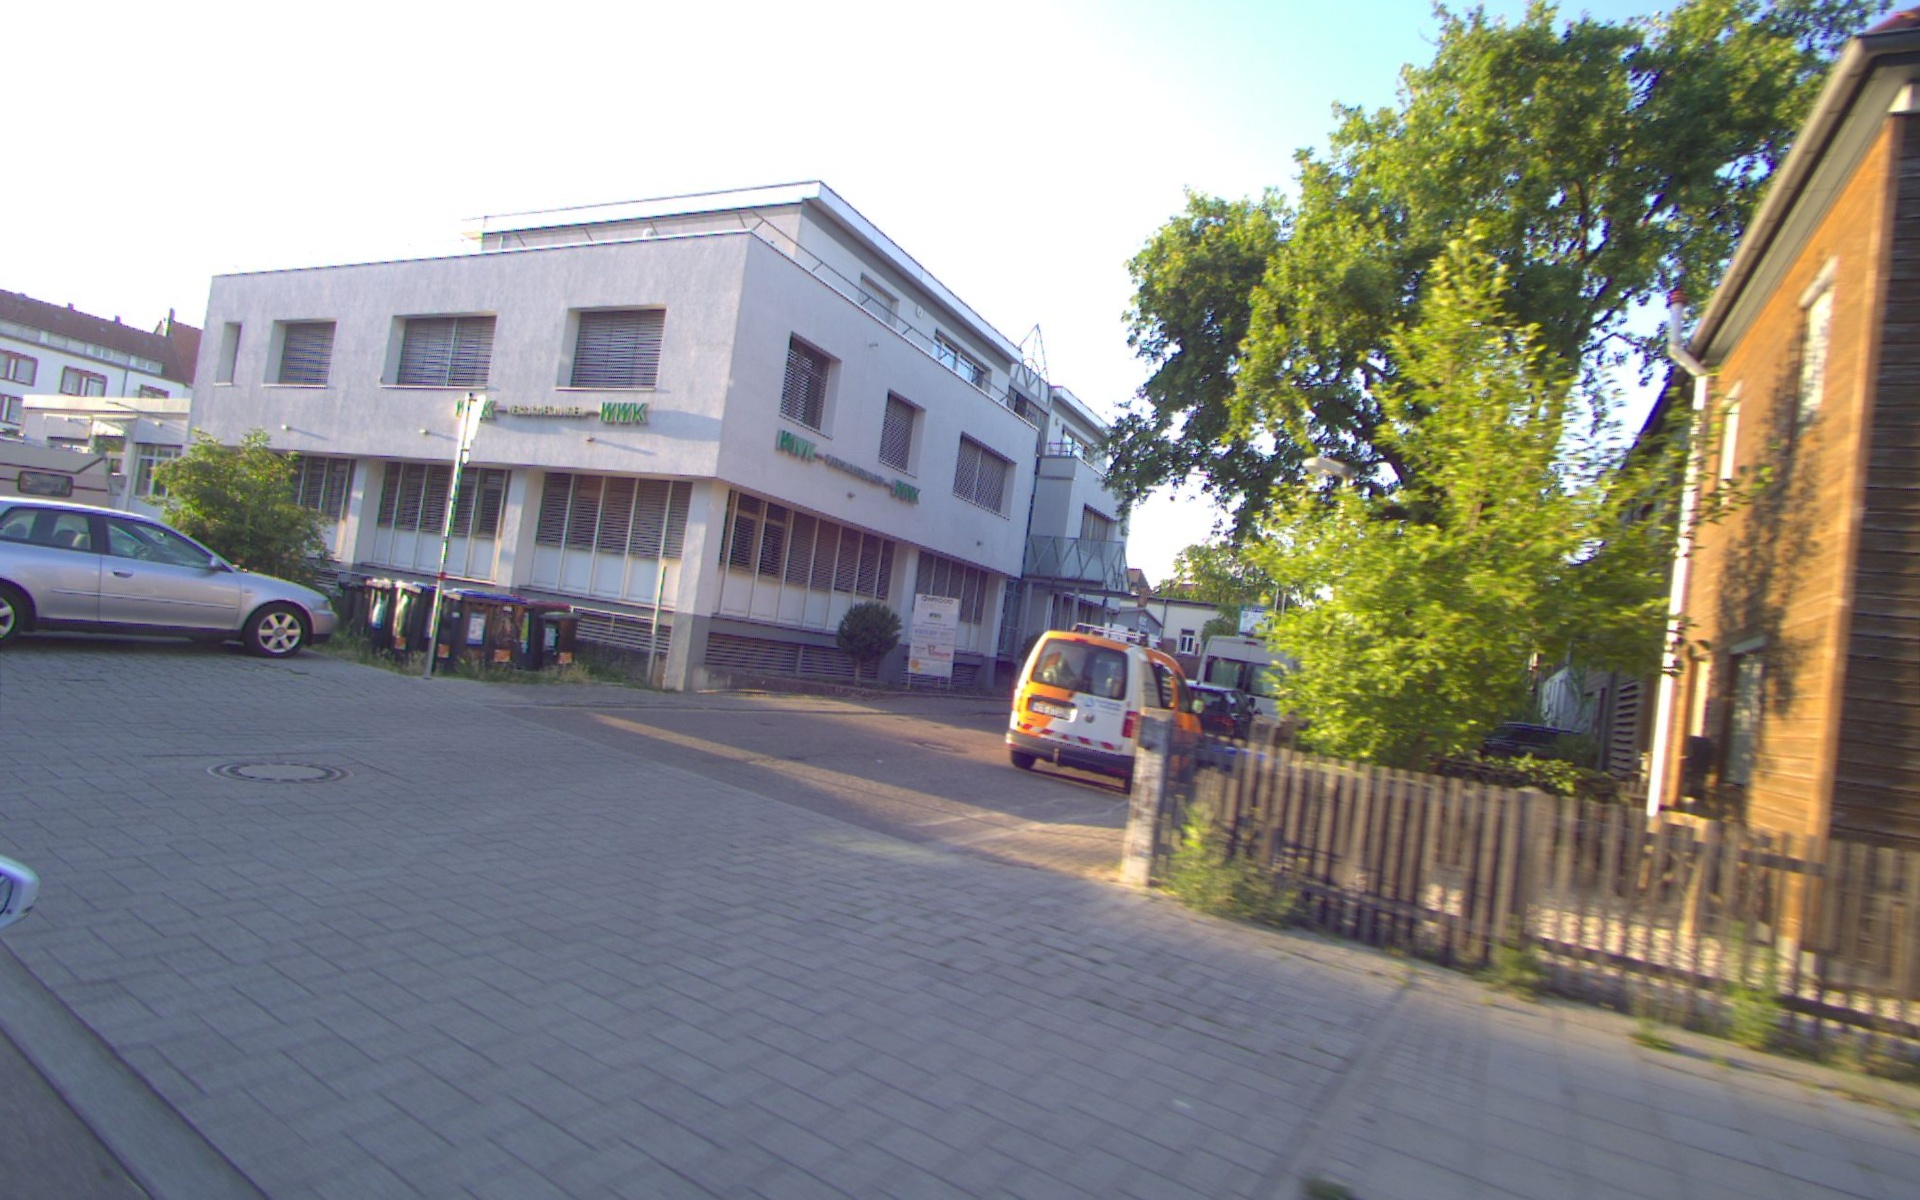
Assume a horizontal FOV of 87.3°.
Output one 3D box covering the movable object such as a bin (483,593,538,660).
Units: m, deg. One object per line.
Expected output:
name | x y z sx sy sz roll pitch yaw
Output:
movable object such as a bin | -6.882 0.409 15.408 0.517 0.942 0.468 7 -1 30

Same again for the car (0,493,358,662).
car | -8.978 -0.248 10.581 1.864 1.424 4.064 7 -1 29

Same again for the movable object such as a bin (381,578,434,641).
movable object such as a bin | -8.995 0.162 16.380 0.517 0.942 0.468 7 -1 30

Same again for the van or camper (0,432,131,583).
van or camper | -21.342 -2.208 20.794 2.445 2.897 5.793 6 -2 30

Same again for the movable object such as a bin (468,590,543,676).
movable object such as a bin | -5.963 0.439 13.225 0.438 1.033 0.645 7 -2 23

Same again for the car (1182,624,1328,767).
car | 6.766 2.166 22.649 2.060 2.588 4.755 9 -2 26

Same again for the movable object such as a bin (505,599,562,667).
movable object such as a bin | -6.385 0.493 15.056 0.517 0.942 0.468 7 -1 30

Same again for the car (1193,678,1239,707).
car | 16.095 5.814 63.138 1.923 1.471 3.610 7 -3 26

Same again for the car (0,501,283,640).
car | -10.916 -0.418 11.935 1.864 1.349 4.325 6 -2 29

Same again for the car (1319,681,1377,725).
car | 17.168 4.566 44.424 1.923 1.573 3.610 9 -2 26

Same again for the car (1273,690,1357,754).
car | 11.282 3.837 31.814 1.923 1.573 3.610 9 -2 26

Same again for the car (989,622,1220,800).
car | 2.105 1.477 13.586 1.751 1.786 3.954 9 -2 26

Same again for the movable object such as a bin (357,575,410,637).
movable object such as a bin | -9.550 0.099 16.669 0.517 0.942 0.468 7 -1 30

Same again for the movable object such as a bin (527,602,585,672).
movable object such as a bin | -5.939 0.551 14.793 0.517 0.942 0.468 7 -1 30

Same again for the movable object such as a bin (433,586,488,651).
movable object such as a bin | -7.922 0.290 15.952 0.517 0.942 0.468 7 -1 30

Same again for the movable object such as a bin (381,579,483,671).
movable object such as a bin | -6.705 0.329 12.796 0.699 1.033 0.759 7 -2 23

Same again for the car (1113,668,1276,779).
car | 4.300 2.172 17.996 1.923 1.471 3.610 9 -2 26

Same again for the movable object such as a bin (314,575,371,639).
movable object such as a bin | -9.270 0.108 15.117 0.389 0.867 0.500 7 -2 27

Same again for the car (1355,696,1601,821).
car | 9.084 2.710 17.729 3.549 1.472 1.956 7 -3 32

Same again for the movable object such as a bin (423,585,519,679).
movable object such as a bin | -6.031 0.400 12.418 0.699 1.033 0.645 7 -2 23

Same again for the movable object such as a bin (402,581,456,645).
movable object such as a bin | -8.513 0.218 16.142 0.517 0.942 0.468 7 -1 30

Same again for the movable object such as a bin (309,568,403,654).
movable object such as a bin | -8.238 0.159 13.745 0.699 1.033 0.707 7 -2 23

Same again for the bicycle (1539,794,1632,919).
bicycle | 5.471 2.186 8.785 0.557 0.806 1.699 7 -3 33

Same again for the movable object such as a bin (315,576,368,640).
movable object such as a bin | -9.049 0.123 14.726 0.389 0.867 0.415 7 -2 28

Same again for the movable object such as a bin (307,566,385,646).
movable object such as a bin | -8.687 0.092 14.252 0.551 1.033 0.623 7 -2 23

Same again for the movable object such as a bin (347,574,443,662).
movable object such as a bin | -7.457 0.243 13.302 0.699 1.033 0.707 7 -2 23
